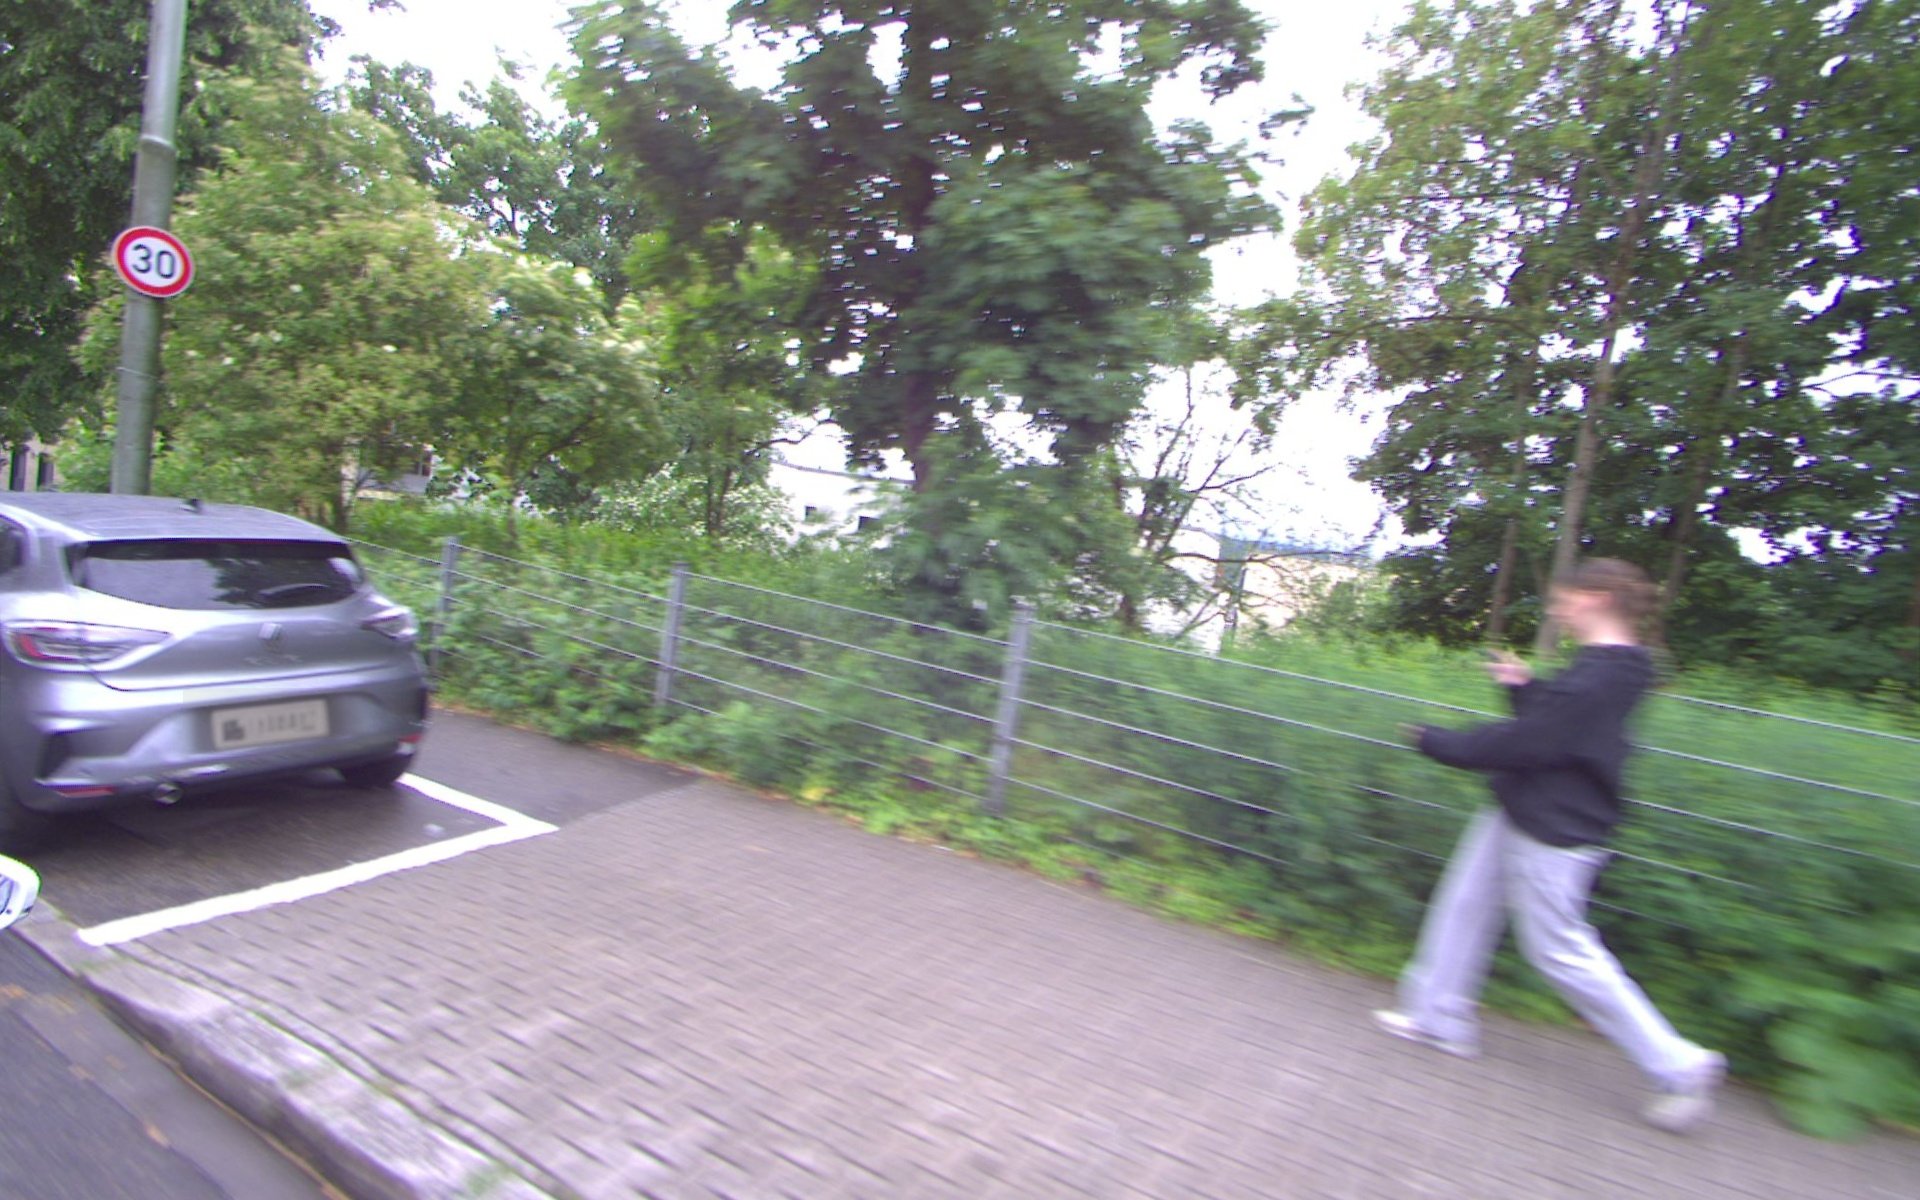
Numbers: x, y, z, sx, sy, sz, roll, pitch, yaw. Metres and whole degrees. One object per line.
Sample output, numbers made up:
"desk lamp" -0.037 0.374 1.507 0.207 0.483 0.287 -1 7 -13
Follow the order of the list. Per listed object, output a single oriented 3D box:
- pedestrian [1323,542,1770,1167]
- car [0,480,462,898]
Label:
"pedestrian" 1.830 0.681 3.245 0.949 1.628 0.765 7 5 32
"car" -4.494 0.151 5.171 3.748 1.425 1.648 7 5 30
